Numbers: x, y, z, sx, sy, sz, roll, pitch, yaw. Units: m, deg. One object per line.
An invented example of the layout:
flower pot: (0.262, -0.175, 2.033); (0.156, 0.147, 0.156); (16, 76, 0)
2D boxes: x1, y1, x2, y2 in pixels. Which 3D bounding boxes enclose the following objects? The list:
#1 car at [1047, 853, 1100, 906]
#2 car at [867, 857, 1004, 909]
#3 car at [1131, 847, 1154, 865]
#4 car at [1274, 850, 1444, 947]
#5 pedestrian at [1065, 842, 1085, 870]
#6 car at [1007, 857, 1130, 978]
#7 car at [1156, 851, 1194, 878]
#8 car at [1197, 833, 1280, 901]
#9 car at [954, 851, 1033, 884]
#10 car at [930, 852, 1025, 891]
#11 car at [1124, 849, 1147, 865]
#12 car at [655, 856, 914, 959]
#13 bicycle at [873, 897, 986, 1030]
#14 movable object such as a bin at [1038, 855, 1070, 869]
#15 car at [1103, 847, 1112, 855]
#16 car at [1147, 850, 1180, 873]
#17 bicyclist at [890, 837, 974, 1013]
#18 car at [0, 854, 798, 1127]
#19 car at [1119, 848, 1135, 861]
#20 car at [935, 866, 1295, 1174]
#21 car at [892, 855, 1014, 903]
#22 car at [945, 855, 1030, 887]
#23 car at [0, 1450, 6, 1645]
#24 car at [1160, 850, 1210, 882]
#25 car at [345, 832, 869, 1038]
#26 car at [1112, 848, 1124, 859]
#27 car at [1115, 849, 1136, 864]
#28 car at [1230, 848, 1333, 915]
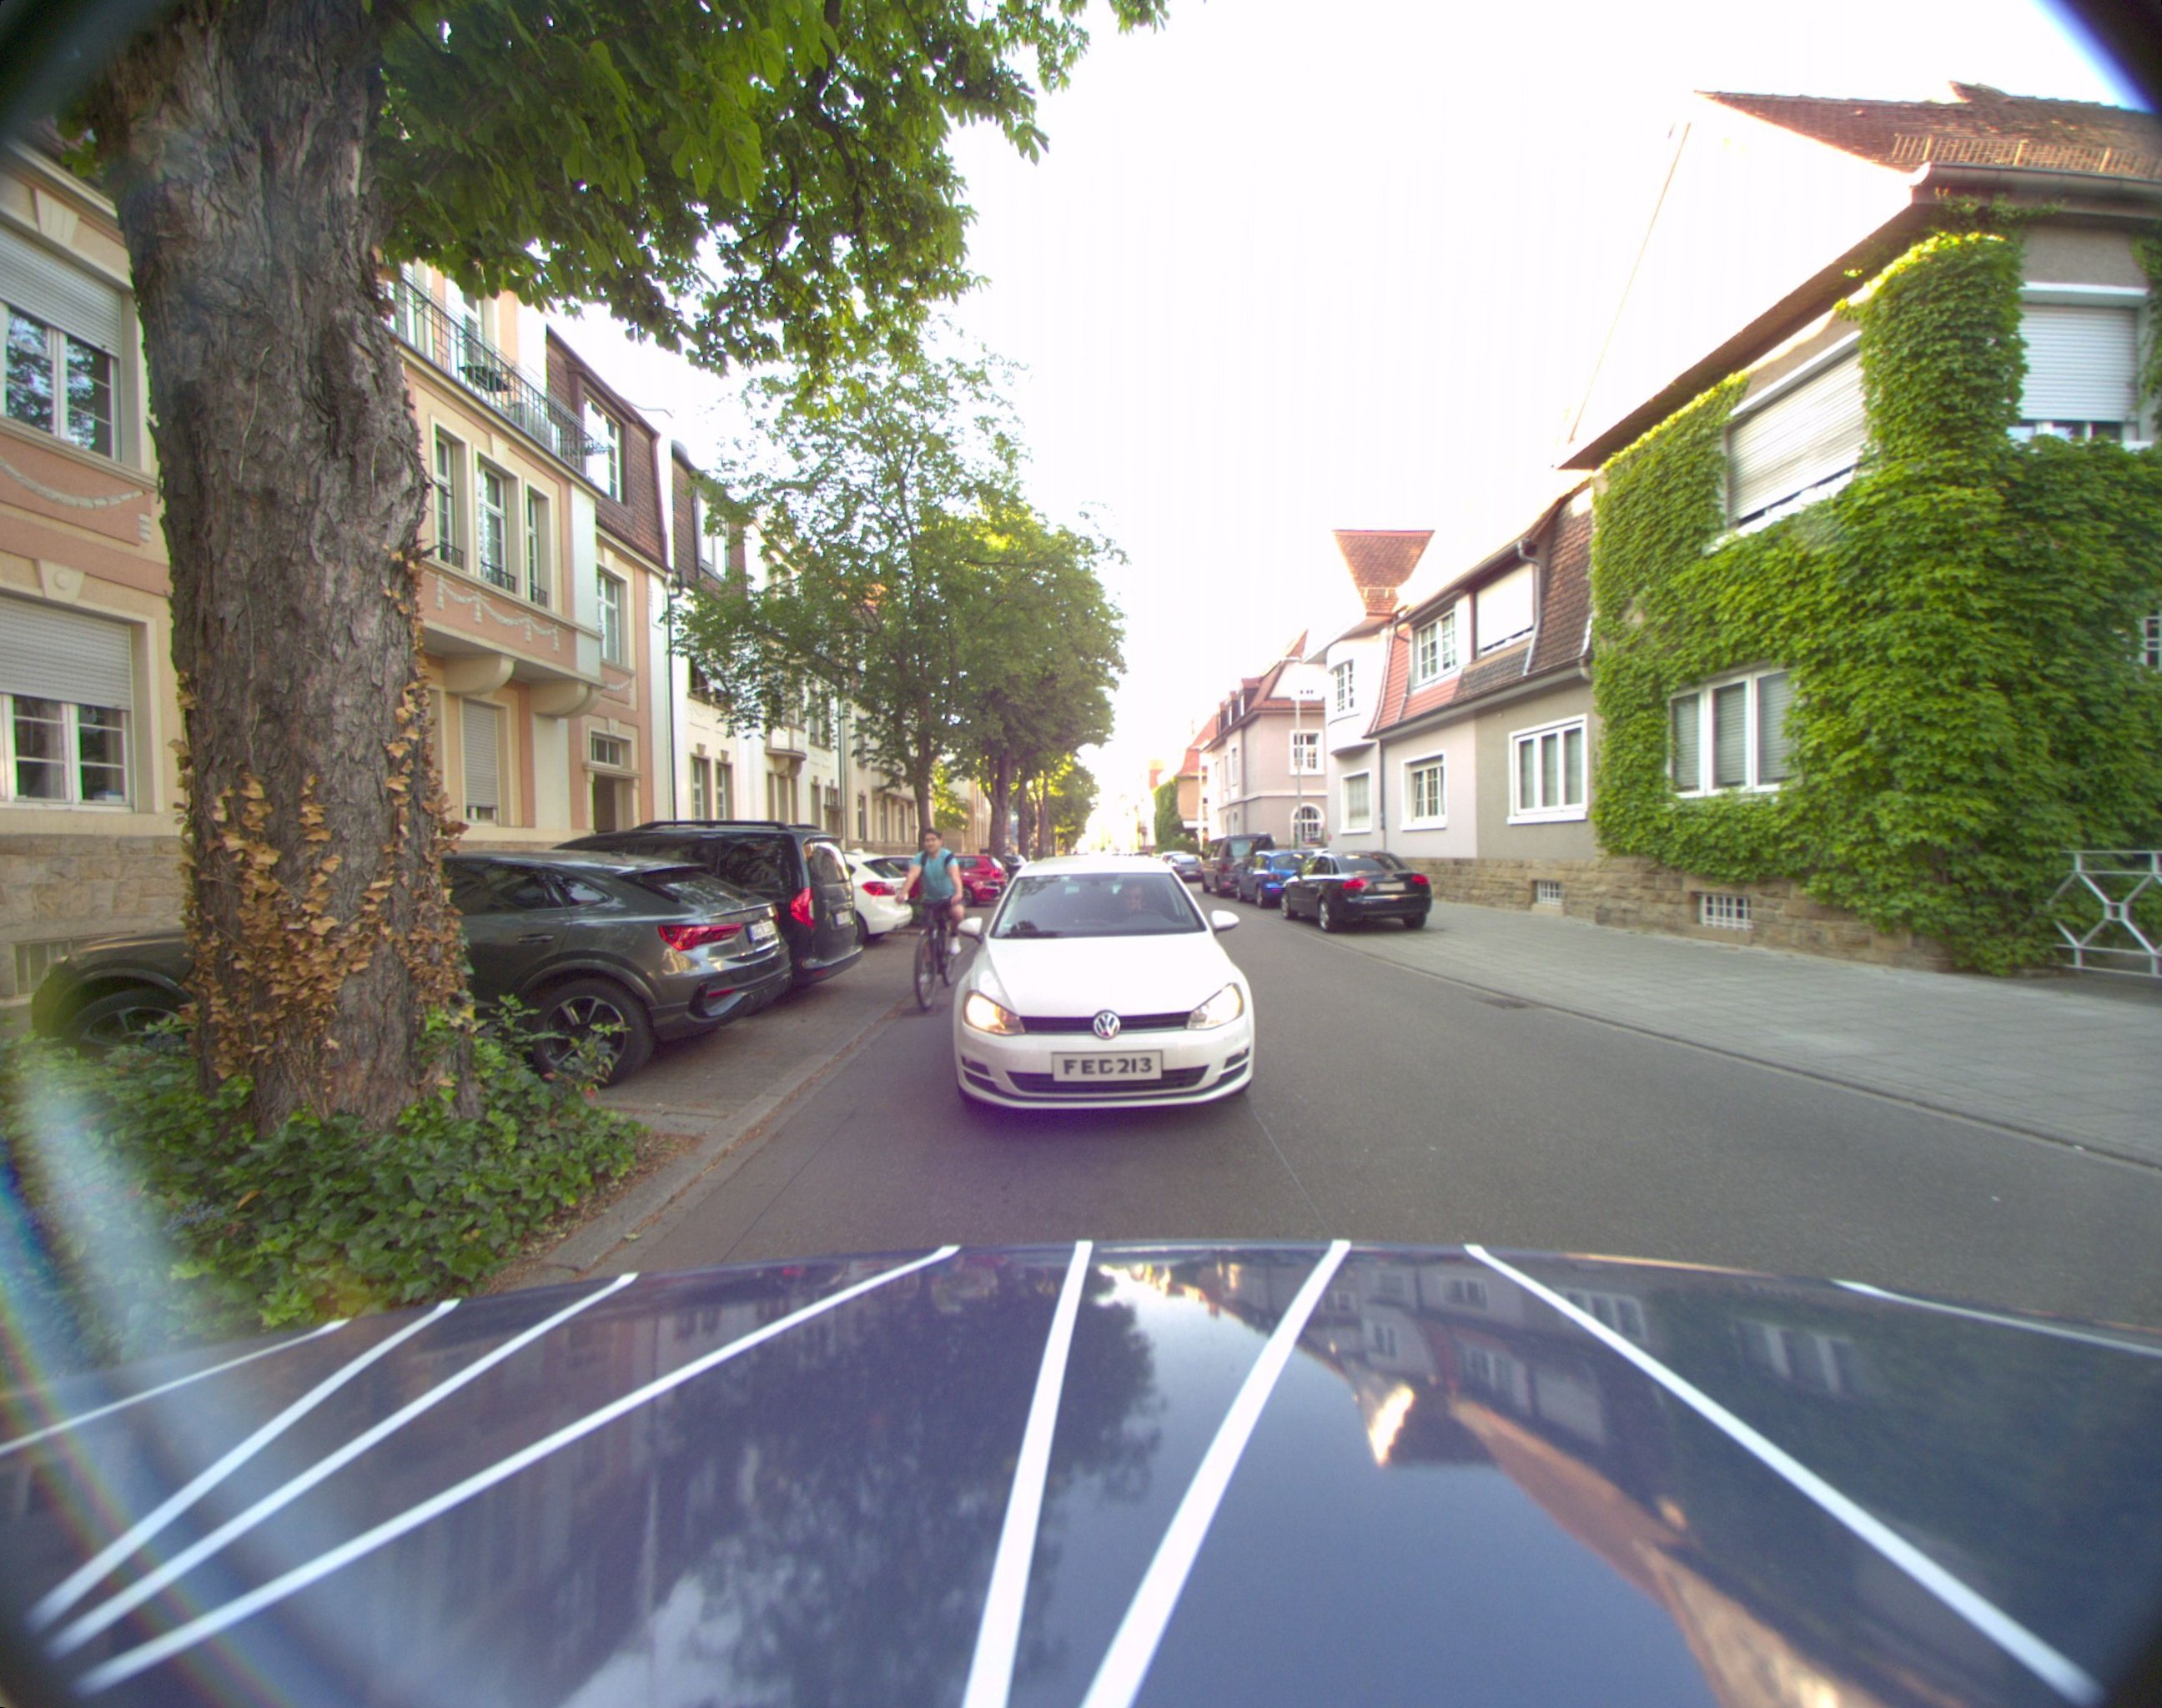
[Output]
car: (-0.203, 0.769, 24.761); (1.560, 1.546, 3.738); (1, 0, 1)
car: (-4.101, 0.797, 21.821); (3.622, 1.395, 1.537); (1, 1, 0)
car: (5.492, 0.181, 68.254); (1.643, 1.461, 3.945); (-3, 0, 0)
car: (5.053, 0.720, 14.433); (1.751, 1.421, 4.023); (-4, 1, 1)
pedestrian: (-0.445, 0.169, 54.623); (1.190, 2.002, 0.929); (1, 1, -16)
car: (-0.141, 0.842, 12.015); (1.600, 1.546, 4.000); (1, 0, 1)
car: (5.149, 0.545, 42.099); (1.541, 1.363, 3.945); (-3, 0, 0)
car: (5.120, 0.352, 25.304); (1.719, 1.961, 4.310); (-4, 1, 0)
car: (-4.200, 0.648, 36.858); (3.622, 1.555, 1.537); (0, 1, 0)
car: (-4.172, 0.702, 30.940); (3.622, 1.555, 1.537); (0, 1, 0)
car: (5.405, 0.259, 75.453); (1.643, 1.461, 3.688); (-3, 0, -4)
car: (-4.677, 0.820, 12.358); (3.623, 1.541, 1.537); (1, 1, -4)
bicycle: (-1.552, 1.086, 8.159); (0.744, 1.111, 2.013); (-2, 0, 1)
movable object such as a bin: (-1.916, 0.576, 54.150); (1.946, 0.943, 1.430); (1, 0, -17)
car: (5.239, -0.528, 149.438); (1.643, 1.461, 3.689); (-3, 0, 0)
car: (5.444, 0.468, 50.655); (1.719, 1.363, 3.945); (-3, 0, 0)
bicyclist: (-1.565, 0.715, 8.114); (0.648, 1.765, 0.830); (-2, 1, 1)
car: (-4.391, 0.829, 5.407); (4.173, 1.583, 1.594); (1, 1, -4)
car: (5.484, 0.067, 91.194); (1.643, 1.461, 3.689); (-3, 0, -1)
car: (0.137, 0.885, 5.920); (1.799, 1.420, 4.023); (-2, 0, -1)
car: (-4.044, 0.770, 24.335); (3.622, 1.456, 1.537); (1, 1, 0)
car: (-4.165, 0.729, 34.147); (3.622, 1.395, 1.537); (0, 1, 0)
car: (-4.665, 0.789, 0.510); (4.835, 1.814, 1.880); (1, 1, -4)
car: (4.981, 0.559, 36.860); (1.719, 1.363, 4.334); (-3, 0, 0)
car: (-4.423, 0.716, 7.616); (4.173, 1.816, 1.594); (1, 1, -4)
car: (5.663, -0.077, 115.891); (1.643, 1.461, 3.689); (-3, 0, 0)
car: (4.714, 0.257, 80.947); (1.643, 1.461, 3.688); (-3, 0, -4)
car: (5.243, 0.651, 20.397); (1.611, 1.455, 4.023); (-4, 1, 0)
